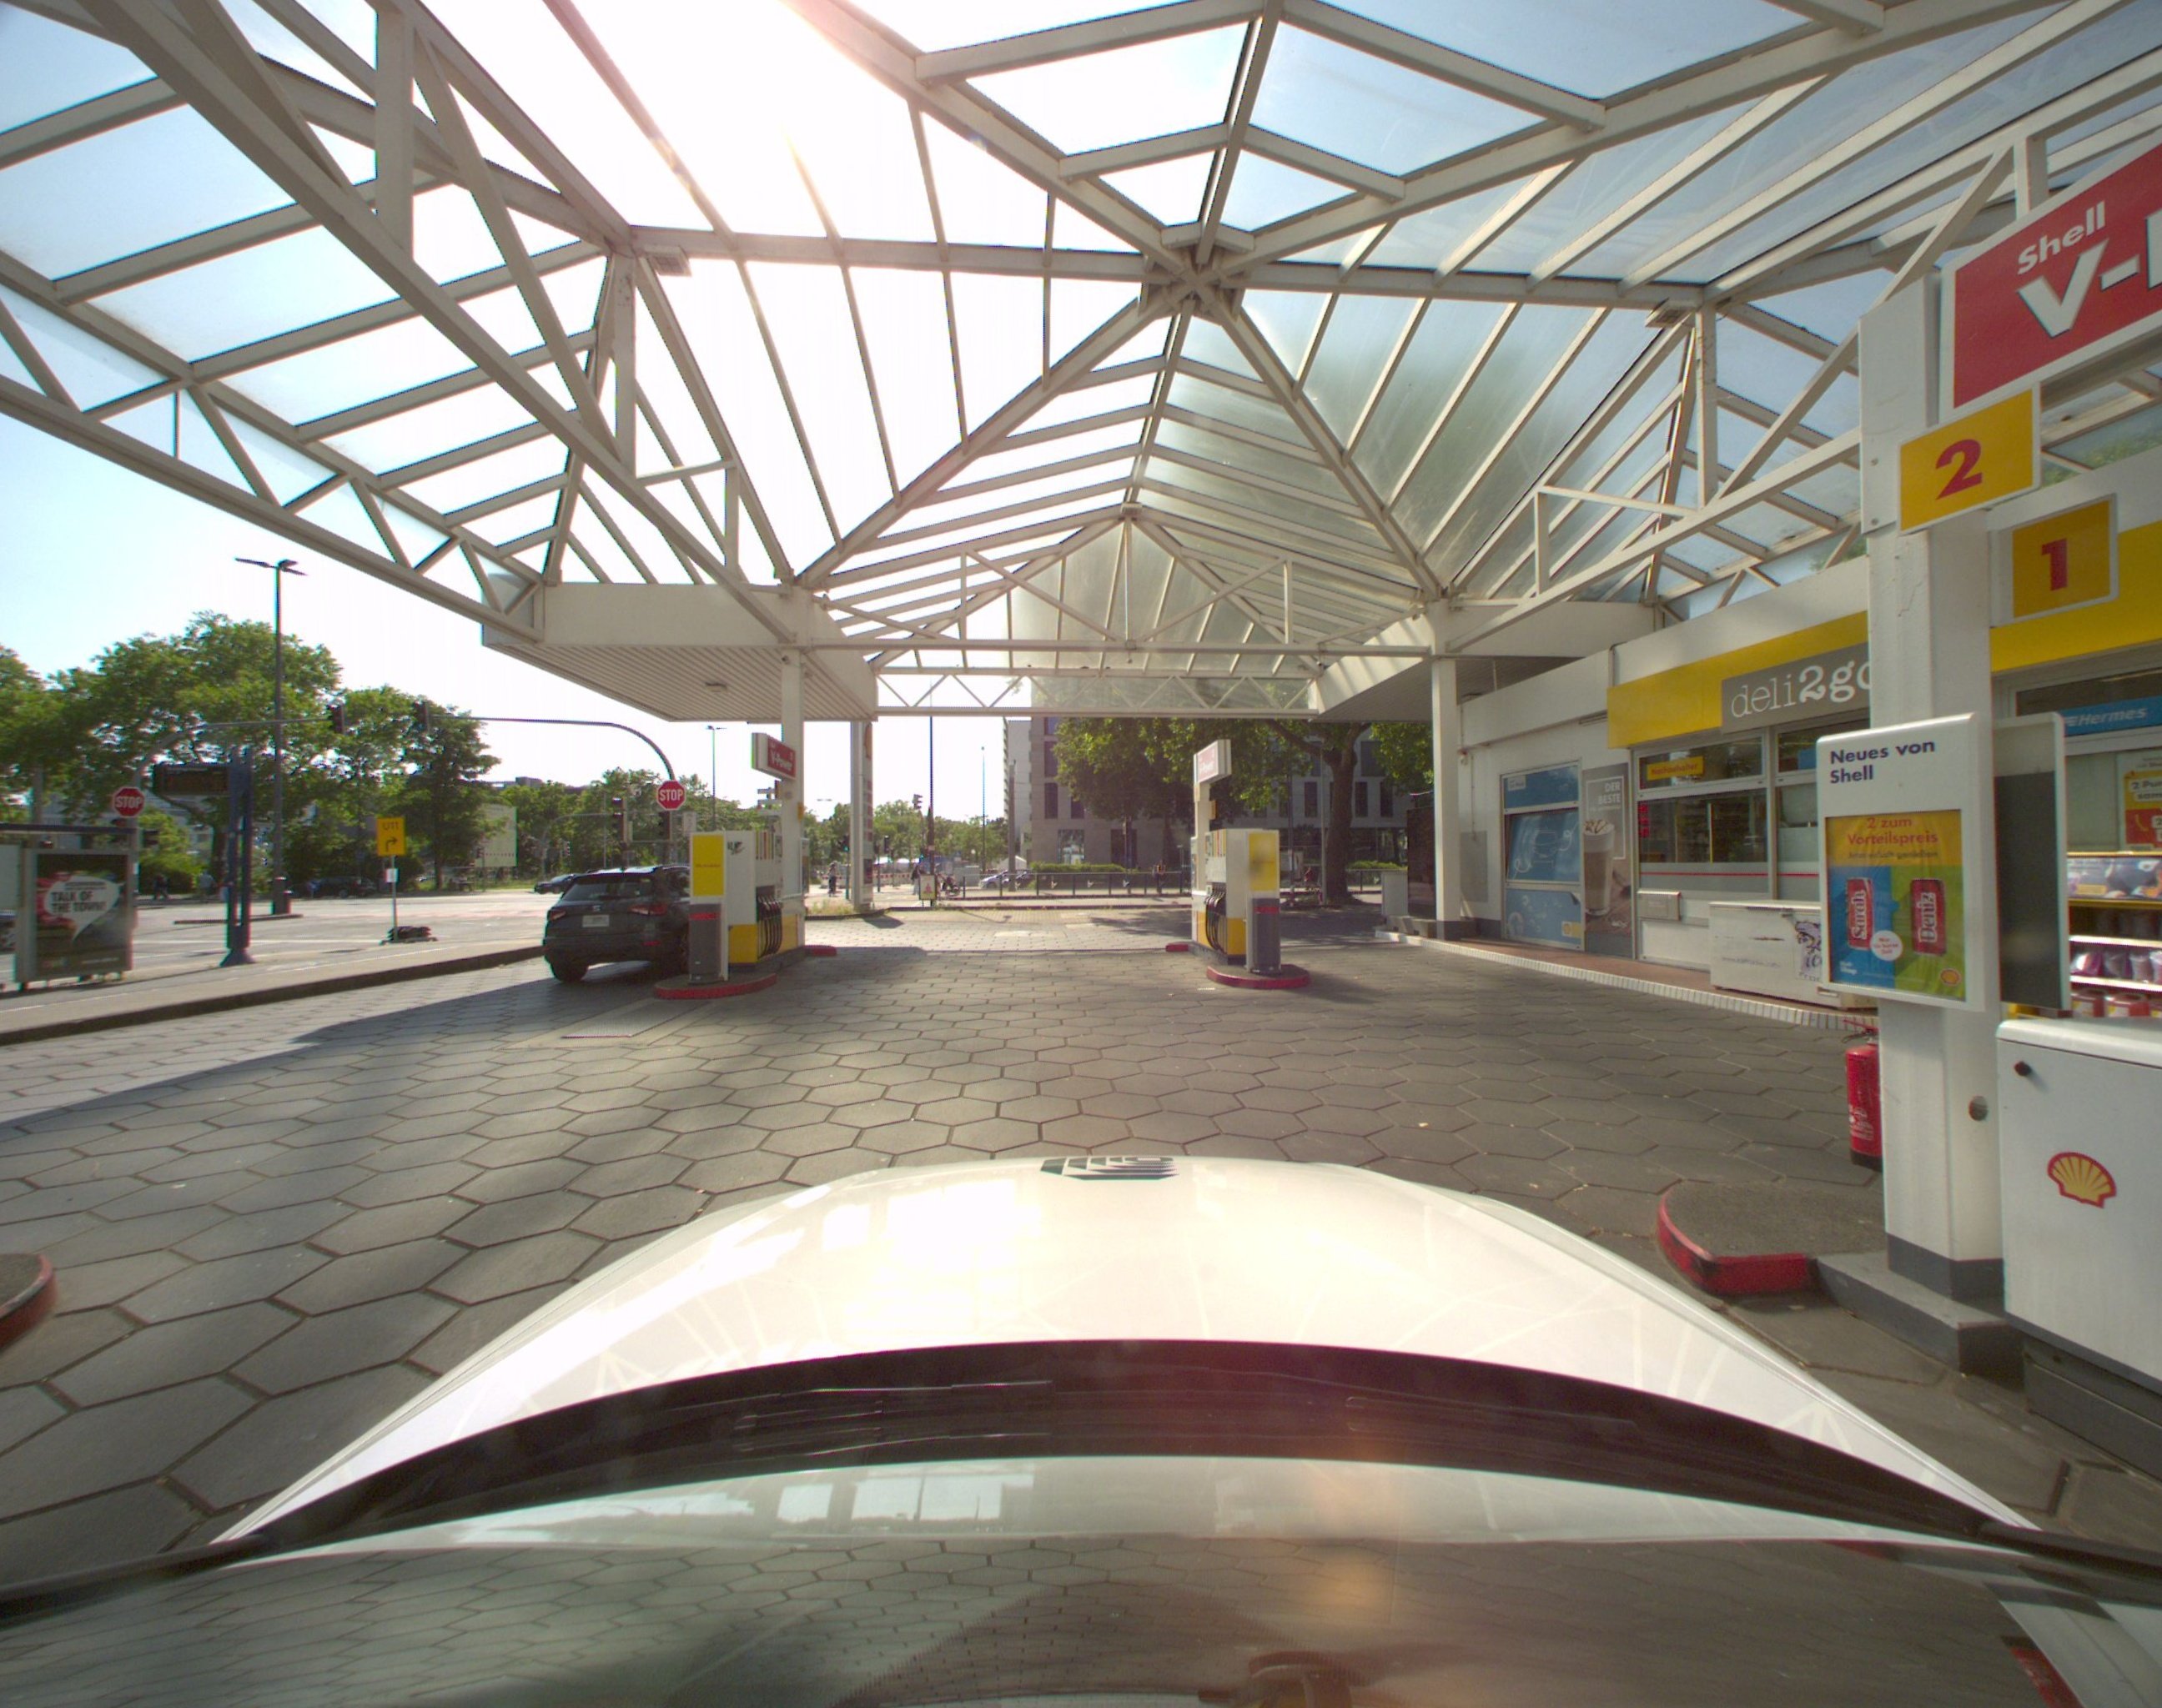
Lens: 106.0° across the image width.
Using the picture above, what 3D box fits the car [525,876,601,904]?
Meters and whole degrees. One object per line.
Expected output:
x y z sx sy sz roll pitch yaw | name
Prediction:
-37.632 2.600 59.328 1.975 1.805 4.235 -3 -1 24 | car

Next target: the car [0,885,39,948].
-24.649 1.360 16.630 1.676 1.367 3.996 1 -1 -4 | car

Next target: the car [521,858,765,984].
-6.326 0.896 12.335 1.740 1.532 3.993 -2 -1 -4 | car

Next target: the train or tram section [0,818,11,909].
-60.830 0.531 38.853 14.870 4.490 2.324 -1 -2 -5 | train or tram section

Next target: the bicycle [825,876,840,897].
-13.480 1.752 44.228 0.638 1.082 2.017 0 -1 -13 | bicycle

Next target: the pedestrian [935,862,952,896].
-6.960 1.264 41.242 0.779 1.683 0.500 0 -1 -18 | pedestrian

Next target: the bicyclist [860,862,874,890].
-11.901 1.235 45.228 0.536 1.544 0.857 1 -2 -30 | bicyclist

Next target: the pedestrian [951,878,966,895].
-6.249 1.657 41.463 0.692 0.880 0.500 0 -1 -18 | pedestrian

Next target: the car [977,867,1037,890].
-5.134 1.679 56.094 3.986 1.552 1.697 0 -1 -10 | car

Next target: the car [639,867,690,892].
-36.310 2.182 71.138 1.986 2.014 4.448 -2 -1 1 | car

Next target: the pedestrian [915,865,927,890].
-9.990 1.445 50.855 0.647 1.540 0.504 -1 -1 5 | pedestrian

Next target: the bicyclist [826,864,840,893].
-13.404 1.310 44.030 0.638 1.580 1.168 0 -1 -13 | bicyclist

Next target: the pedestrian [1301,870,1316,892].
11.662 1.374 41.705 0.625 1.138 0.524 -1 -1 2 | pedestrian

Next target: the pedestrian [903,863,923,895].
-9.032 1.338 43.910 0.927 1.683 0.504 -1 -1 7 | pedestrian

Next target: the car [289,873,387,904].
-48.172 2.222 52.917 4.215 1.805 1.985 -2 -1 -22 | car

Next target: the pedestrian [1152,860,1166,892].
3.912 1.107 40.796 0.583 1.591 0.669 0 0 -4 | pedestrian

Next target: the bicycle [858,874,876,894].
-11.895 1.647 45.188 0.526 1.082 1.849 0 -1 -30 | bicycle

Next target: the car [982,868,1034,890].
-5.373 1.791 59.928 3.681 1.552 1.586 0 -1 -10 | car
